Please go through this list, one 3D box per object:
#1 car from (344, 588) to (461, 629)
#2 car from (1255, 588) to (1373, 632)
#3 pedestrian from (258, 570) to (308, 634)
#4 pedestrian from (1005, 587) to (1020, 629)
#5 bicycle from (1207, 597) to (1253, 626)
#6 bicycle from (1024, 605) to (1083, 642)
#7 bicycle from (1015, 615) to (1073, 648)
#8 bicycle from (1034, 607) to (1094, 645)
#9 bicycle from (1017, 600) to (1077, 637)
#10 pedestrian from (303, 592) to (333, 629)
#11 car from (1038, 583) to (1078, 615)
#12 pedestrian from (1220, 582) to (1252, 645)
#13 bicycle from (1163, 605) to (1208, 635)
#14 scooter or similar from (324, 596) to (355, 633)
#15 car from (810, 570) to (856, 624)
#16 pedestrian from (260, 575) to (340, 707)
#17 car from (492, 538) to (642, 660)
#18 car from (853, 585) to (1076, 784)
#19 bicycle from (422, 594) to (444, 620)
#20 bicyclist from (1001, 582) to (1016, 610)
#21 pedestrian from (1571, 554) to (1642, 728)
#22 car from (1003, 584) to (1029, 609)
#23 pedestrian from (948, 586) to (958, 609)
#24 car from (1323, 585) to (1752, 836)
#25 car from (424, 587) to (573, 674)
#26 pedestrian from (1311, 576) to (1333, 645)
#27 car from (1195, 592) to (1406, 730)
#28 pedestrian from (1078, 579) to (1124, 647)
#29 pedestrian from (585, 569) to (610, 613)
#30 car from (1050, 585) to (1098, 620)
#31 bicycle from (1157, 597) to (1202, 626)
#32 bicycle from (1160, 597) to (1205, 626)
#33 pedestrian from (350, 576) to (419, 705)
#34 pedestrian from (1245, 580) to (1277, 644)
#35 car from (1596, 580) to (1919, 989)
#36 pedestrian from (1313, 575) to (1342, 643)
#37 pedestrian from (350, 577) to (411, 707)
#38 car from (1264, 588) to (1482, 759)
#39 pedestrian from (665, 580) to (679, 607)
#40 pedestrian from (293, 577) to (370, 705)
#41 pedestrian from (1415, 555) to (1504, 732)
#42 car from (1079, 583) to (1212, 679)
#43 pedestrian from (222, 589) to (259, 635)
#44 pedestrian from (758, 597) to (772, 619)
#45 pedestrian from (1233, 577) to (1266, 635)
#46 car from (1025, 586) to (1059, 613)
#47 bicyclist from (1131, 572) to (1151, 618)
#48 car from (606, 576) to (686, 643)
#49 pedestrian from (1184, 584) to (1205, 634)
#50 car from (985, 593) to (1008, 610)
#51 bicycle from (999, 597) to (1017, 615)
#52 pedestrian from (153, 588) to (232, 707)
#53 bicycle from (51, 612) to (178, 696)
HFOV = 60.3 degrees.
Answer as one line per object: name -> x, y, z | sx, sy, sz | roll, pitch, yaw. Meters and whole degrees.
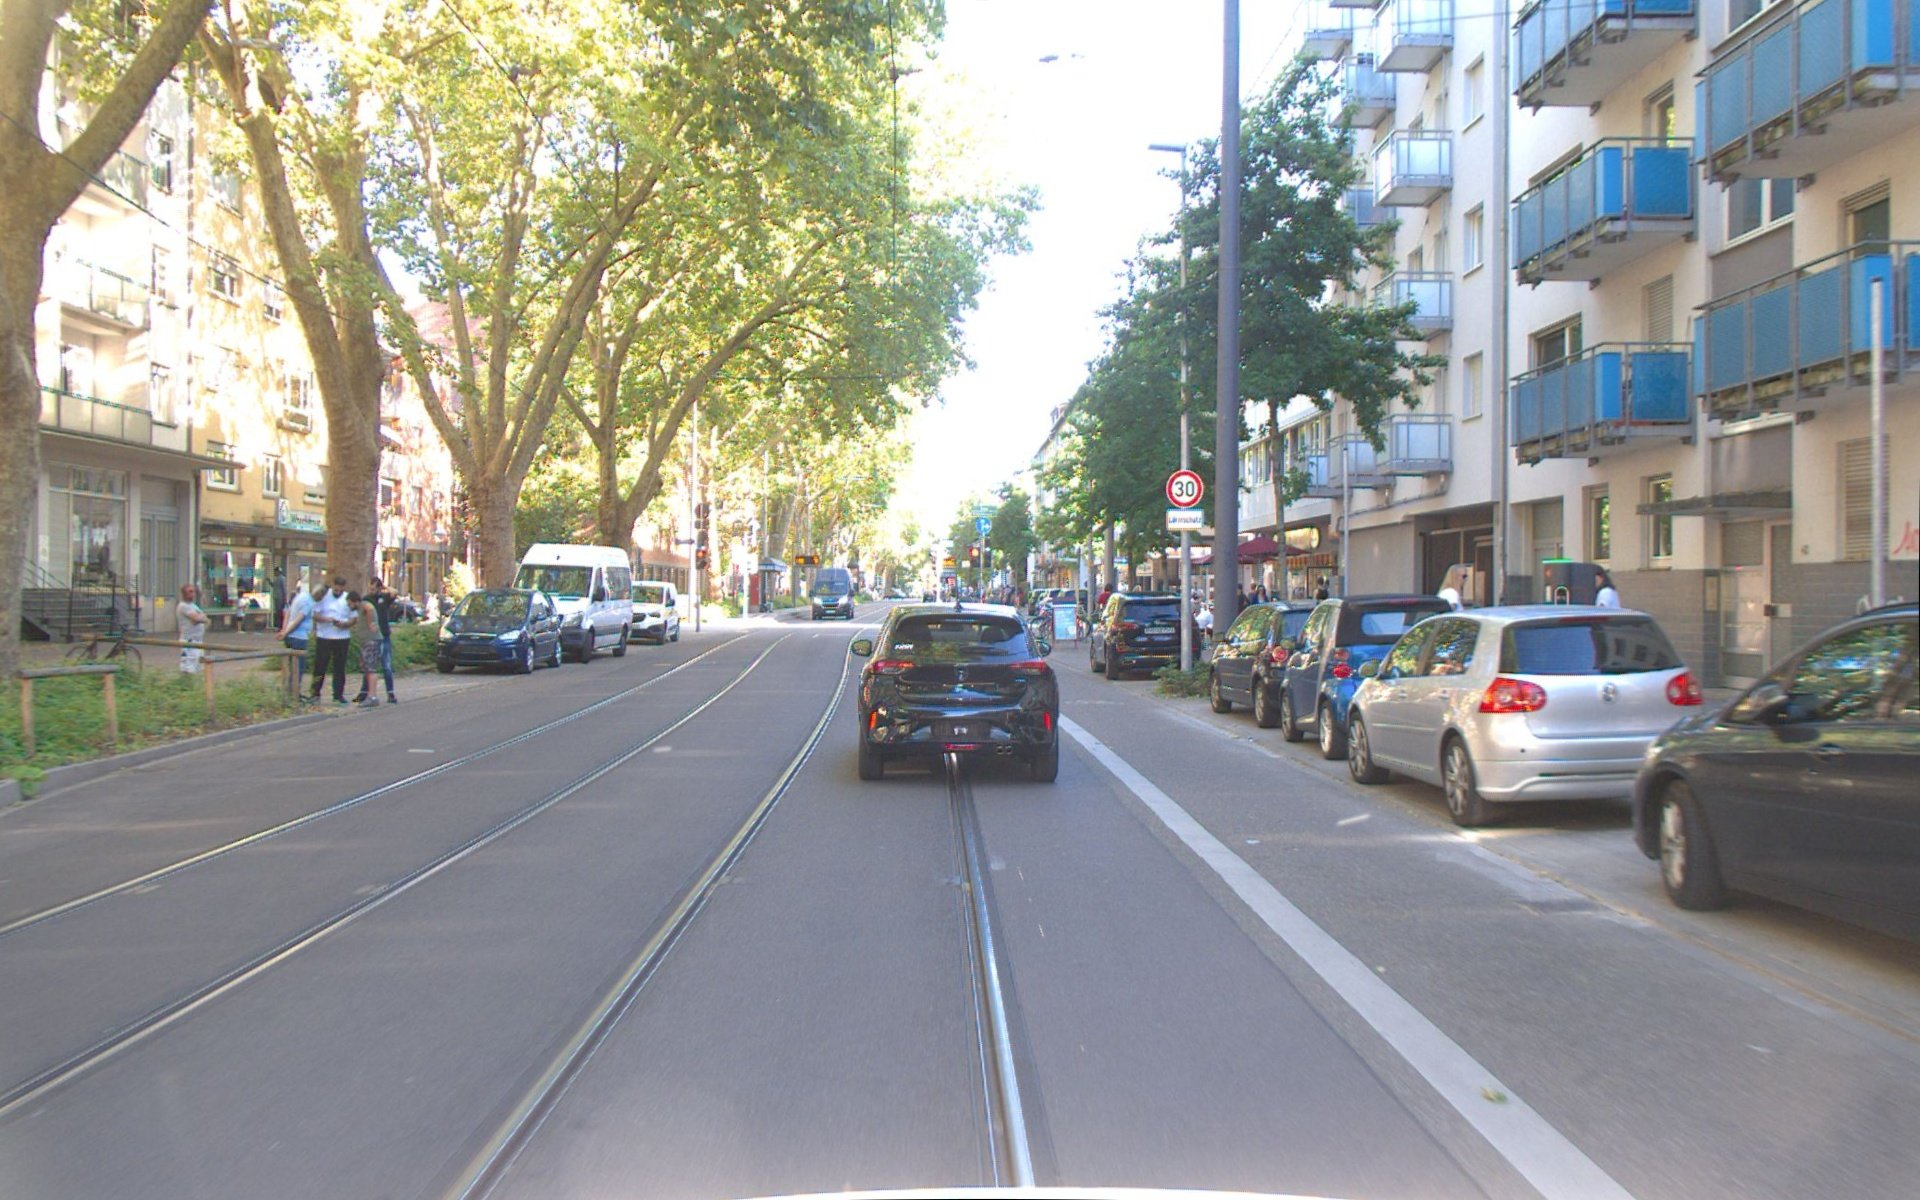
car -> -23.512, 0.337, 69.912 | 4.349, 1.481, 1.996 | 3, 0, -9
car -> 13.913, 0.414, 65.132 | 4.168, 1.620, 1.964 | 1, -1, -8
pedestrian -> -20.430, 0.051, 49.925 | 1.085, 1.897, 1.058 | 1, 0, -5
pedestrian -> 1.991, 0.297, 63.118 | 0.540, 1.589, 0.645 | 1, -1, 3
bicycle -> 11.682, 0.489, 71.596 | 1.877, 1.228, 0.510 | 1, 1, -5
bicycle -> 2.916, 0.723, 51.552 | 1.782, 1.119, 0.496 | 1, -1, -10
bicycle -> 2.662, 0.986, 52.407 | 1.779, 1.011, 0.481 | 1, -1, -4
bicycle -> 3.205, 0.800, 51.058 | 1.782, 1.119, 0.480 | 1, -1, -10
bicycle -> 2.638, 0.556, 50.352 | 1.779, 1.119, 0.525 | 0, 0, -2
pedestrian -> -20.874, 0.342, 53.780 | 0.629, 1.187, 0.675 | 1, -1, 25
car -> 5.161, -0.032, 87.853 | 1.763, 1.634, 4.414 | 1, 0, -1
pedestrian -> 7.494, 0.362, 44.928 | 0.629, 1.666, 0.869 | -2, 0, -3
bicycle -> 9.691, 0.853, 71.108 | 1.877, 1.228, 0.510 | -1, 1, -5
scooter or similar -> -20.075, 0.463, 53.483 | 0.629, 1.187, 0.675 | 1, -1, 25
car -> -6.842, -0.160, 89.568 | 2.071, 2.786, 6.113 | -1, 0, -1
pedestrian -> -9.049, 0.557, 22.704 | 0.752, 1.765, 0.717 | 1, -1, 3
car -> -9.078, -0.011, 38.828 | 2.065, 2.622, 6.023 | 1, 0, 0
car -> -0.059, 0.675, 14.899 | 1.725, 1.534, 3.680 | 2, 0, -3
bicycle -> -24.067, 0.318, 75.601 | 0.530, 1.103, 1.638 | 1, 2, -3
bicyclist -> 3.145, -0.252, 107.547 | 0.844, 1.790, 1.052 | 1, 0, -7
pedestrian -> 7.173, 0.444, 18.354 | 0.530, 1.884, 0.660 | 0, 0, 42
car -> 4.668, -0.277, 138.166 | 1.953, 1.986, 3.998 | 1, 0, -2
pedestrian -> -0.497, -0.164, 117.657 | 0.618, 1.603, 0.870 | 2, 0, -1
car -> 4.234, 0.704, 12.884 | 1.750, 1.564, 4.126 | -2, 0, -2
car -> -9.076, 0.576, 32.862 | 1.878, 1.589, 4.282 | 1, 0, -2
pedestrian -> 9.616, 0.281, 43.962 | 0.423, 1.827, 0.489 | 1, -1, -3
car -> 4.186, 0.687, 20.918 | 1.590, 1.507, 3.886 | -2, 0, -4
pedestrian -> 3.781, 0.357, 44.345 | 1.025, 1.789, 0.876 | 1, 0, -11
pedestrian -> -15.954, -0.411, 72.826 | 0.906, 1.867, 0.919 | 1, 2, -5
car -> 5.514, 0.128, 80.452 | 1.953, 1.644, 4.444 | 0, 0, -1
bicycle -> 9.557, 0.487, 71.907 | 1.877, 1.229, 0.510 | 0, 0, -5
bicycle -> 9.591, 0.488, 71.373 | 1.877, 1.228, 0.510 | -1, 1, -5
pedestrian -> -8.286, 0.575, 23.835 | 0.697, 1.808, 0.770 | 1, -1, -2
pedestrian -> 8.177, 0.325, 44.984 | 0.584, 1.707, 0.934 | -2, 0, -4
car -> 4.592, 0.718, 7.182 | 1.686, 1.598, 4.255 | -2, 0, -5
pedestrian -> 10.039, 0.244, 45.196 | 0.517, 1.837, 0.628 | 0, -1, 42
pedestrian -> -8.074, 0.576, 23.029 | 0.757, 1.765, 0.709 | 1, -1, -22
car -> 4.178, 0.681, 17.087 | 1.415, 1.564, 2.880 | -2, 0, -2
pedestrian -> -18.397, -0.387, 105.676 | 0.720, 1.701, 0.860 | 1, -1, -1
pedestrian -> -8.813, 0.564, 23.205 | 0.756, 1.765, 0.710 | 0, -1, 40
pedestrian -> 5.553, 0.475, 18.405 | 0.468, 1.883, 0.661 | -7, 1, -15
car -> 3.466, 0.561, 31.670 | 1.724, 1.615, 4.326 | -3, 0, -4
pedestrian -> -20.301, 0.341, 46.677 | 0.659, 1.294, 0.644 | 1, -1, 21
pedestrian -> -10.745, 0.421, 91.165 | 0.691, 1.189, 0.659 | -1, 0, -4
pedestrian -> 8.618, 0.183, 49.263 | 0.666, 1.688, 0.810 | 1, -1, -19
car -> 5.163, -0.014, 104.194 | 1.819, 1.644, 4.396 | 1, 0, -1
bicyclist -> 6.933, -0.193, 63.329 | 0.663, 1.747, 0.965 | 1, 0, 1
car -> -9.332, 0.269, 49.435 | 1.728, 1.883, 4.315 | 1, 0, -3
pedestrian -> 8.628, 0.336, 60.828 | 0.578, 1.815, 0.995 | 1, 0, -3
car -> 3.449, 0.157, 157.179 | 1.953, 1.512, 3.999 | 1, 0, -1
bicycle -> 3.125, 0.380, 107.622 | 0.844, 1.156, 2.392 | 1, 0, -7
pedestrian -> -10.810, 0.658, 23.301 | 0.755, 1.638, 0.711 | 1, -1, 34
bicycle -> -11.725, 0.739, 22.925 | 1.809, 1.099, 0.568 | 1, -1, 26
